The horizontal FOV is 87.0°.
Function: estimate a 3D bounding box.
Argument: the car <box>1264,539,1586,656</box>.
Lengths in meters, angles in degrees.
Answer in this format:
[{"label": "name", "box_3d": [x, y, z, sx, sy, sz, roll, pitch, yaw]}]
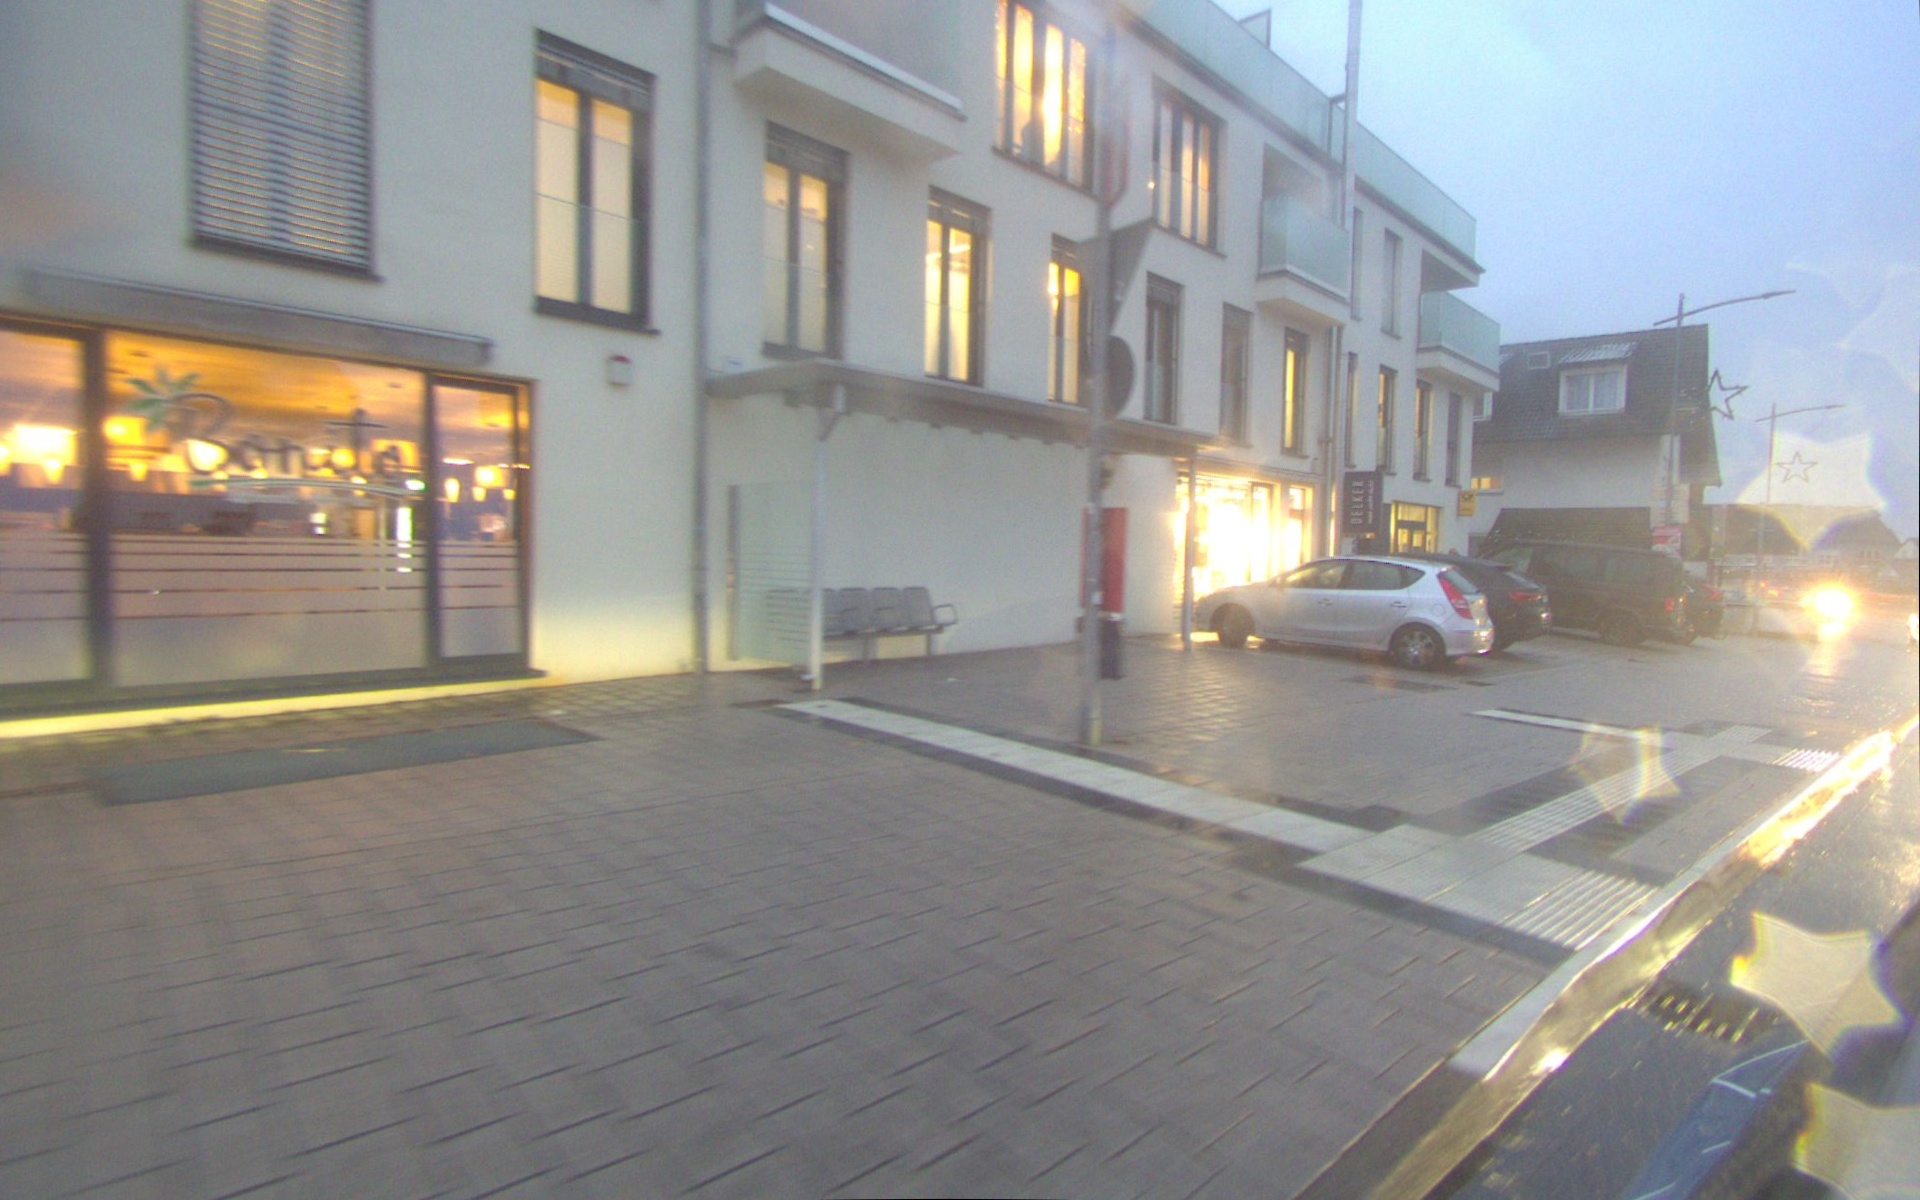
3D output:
[{"label": "car", "box_3d": [7.746, -0.140, 17.162, 4.511, 1.510, 1.944, 7, 5, 43]}]

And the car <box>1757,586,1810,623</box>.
[{"label": "car", "box_3d": [39.081, 0.191, 48.041, 1.841, 1.605, 3.715, 3, 2, 39]}]

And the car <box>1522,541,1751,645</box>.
[{"label": "car", "box_3d": [15.796, -0.225, 23.766, 4.137, 1.652, 1.731, 13, 8, 37]}]

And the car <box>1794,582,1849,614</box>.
[{"label": "car", "box_3d": [45.053, -0.133, 52.975, 1.823, 1.563, 3.668, 2, 2, 35]}]

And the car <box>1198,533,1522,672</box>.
[{"label": "car", "box_3d": [5.748, -0.064, 14.761, 3.981, 1.521, 1.789, 7, 5, 37]}]

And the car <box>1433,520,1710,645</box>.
[{"label": "car", "box_3d": [12.891, -0.446, 21.543, 4.547, 1.955, 1.943, 12, 8, 44]}]

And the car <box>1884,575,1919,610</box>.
[{"label": "car", "box_3d": [57.673, -0.453, 60.933, 1.981, 2.038, 3.962, 2, 2, 27]}]
